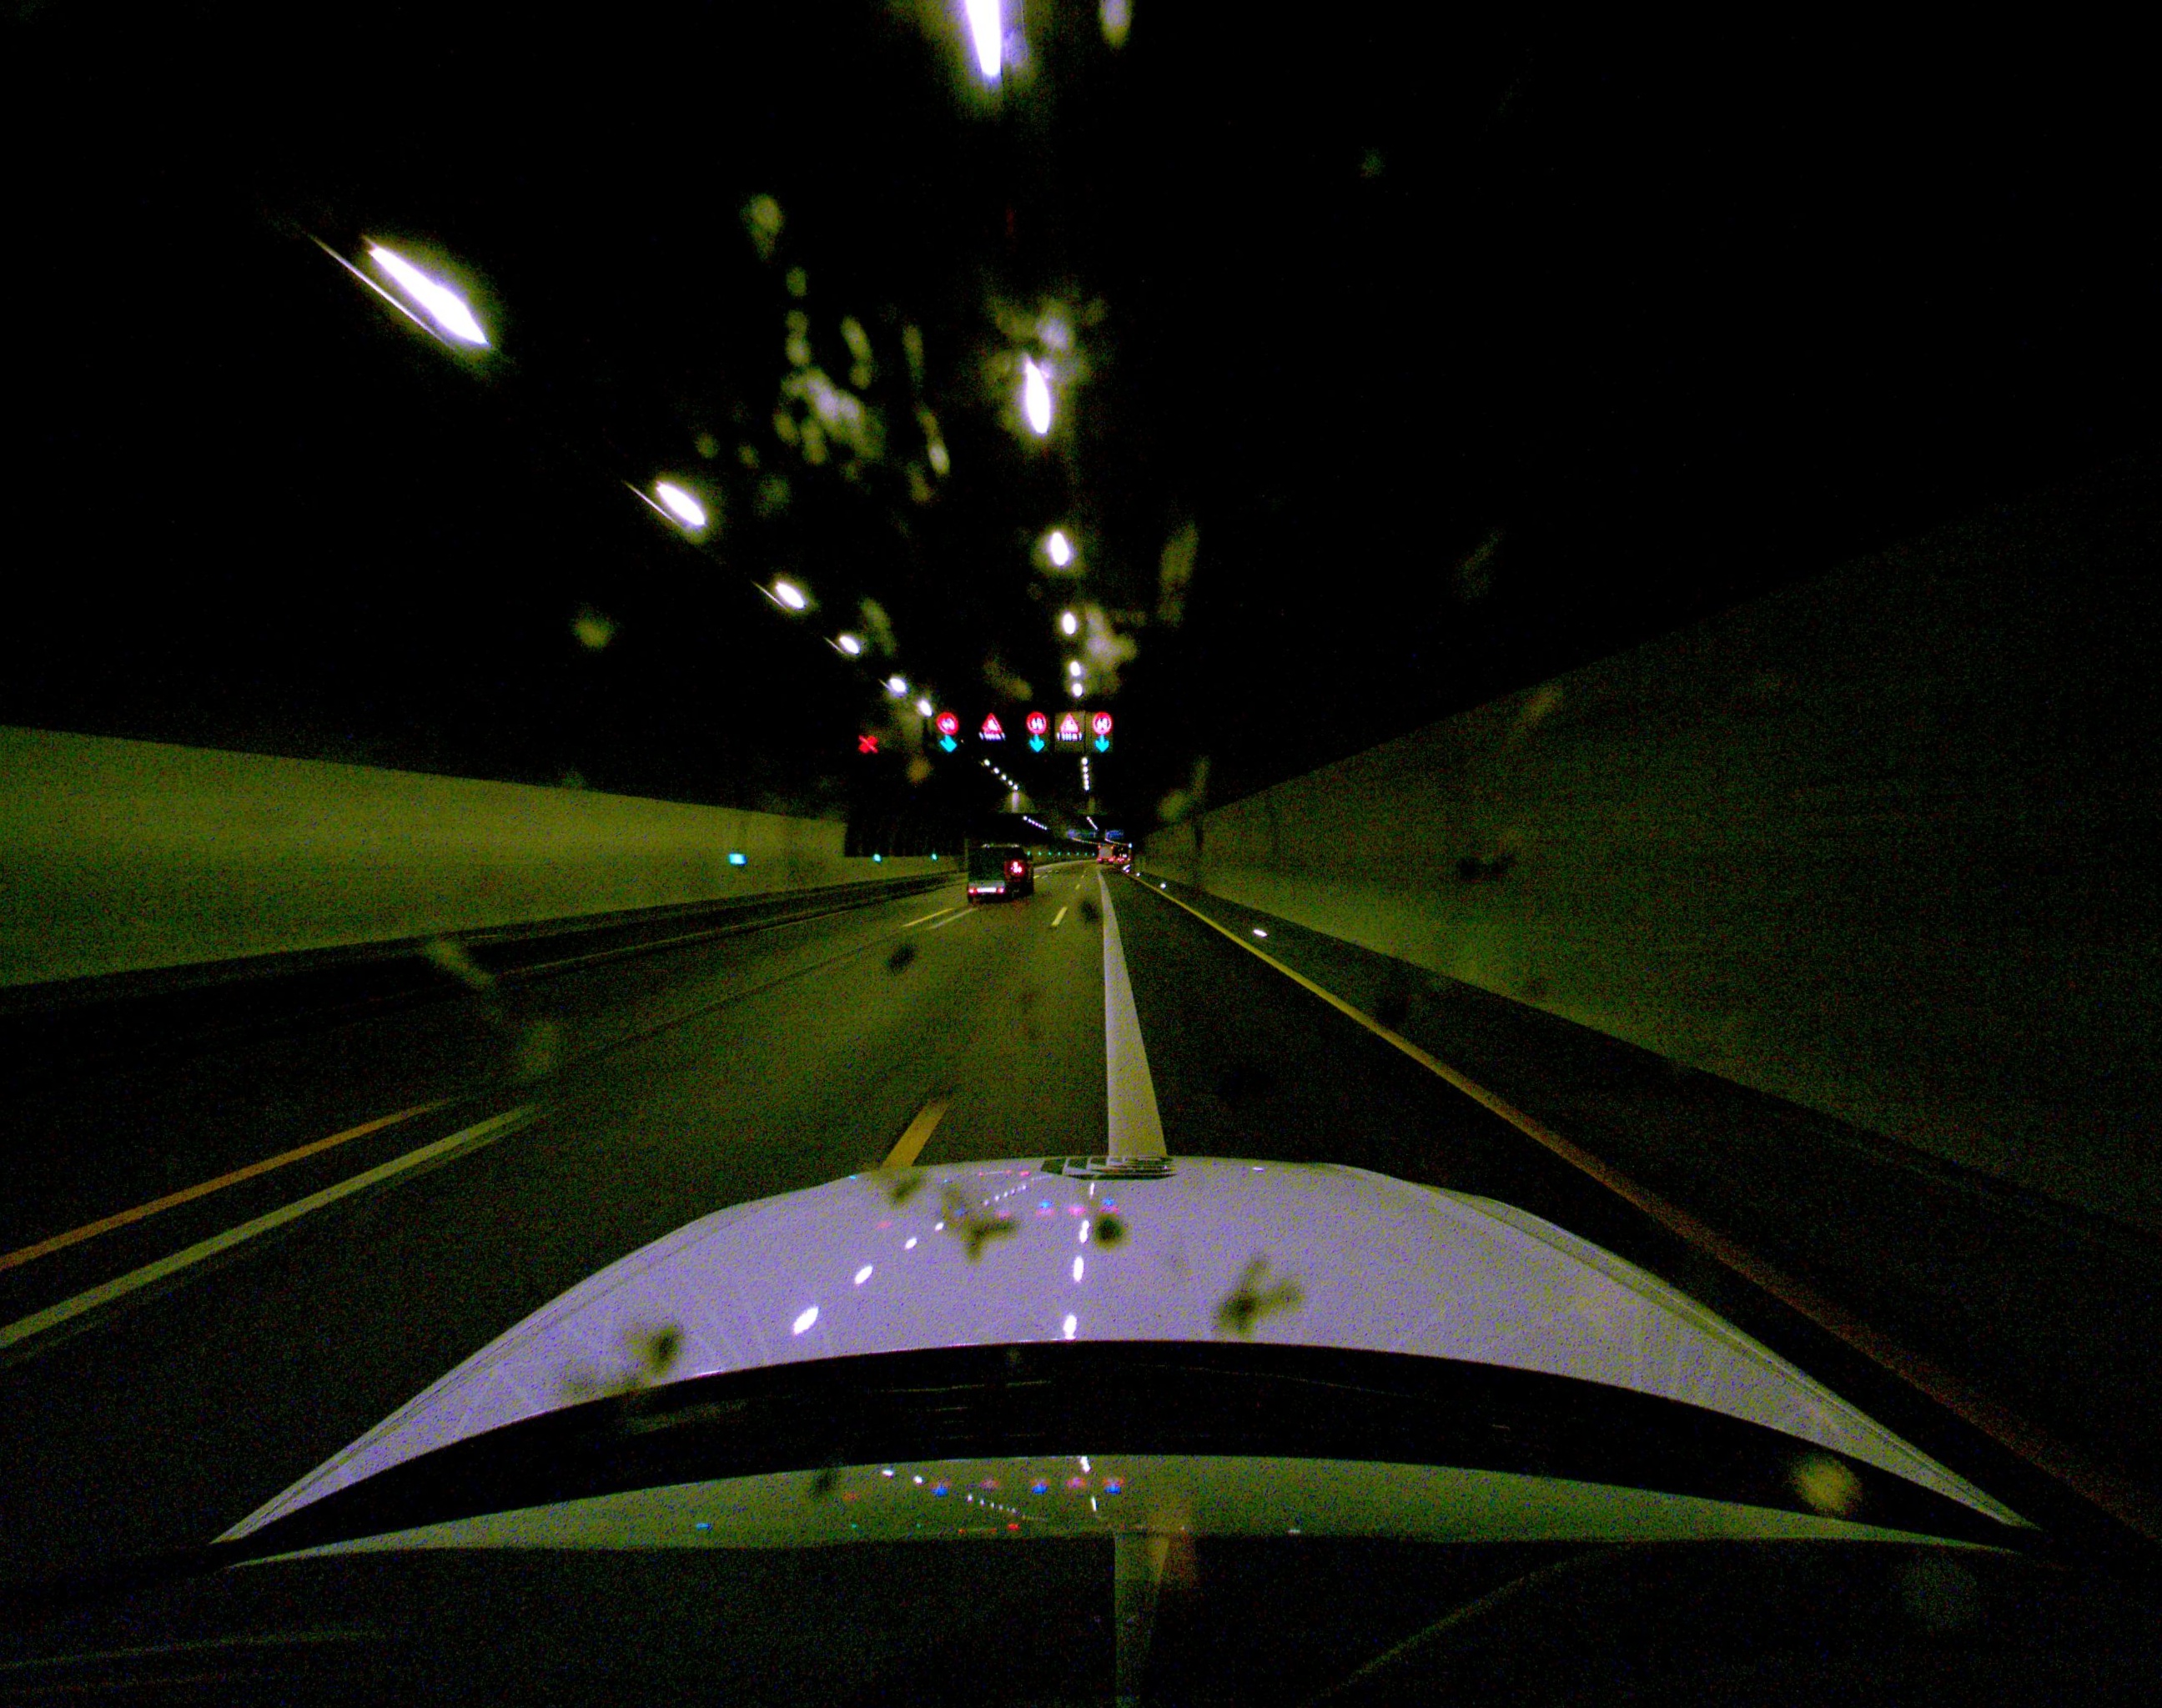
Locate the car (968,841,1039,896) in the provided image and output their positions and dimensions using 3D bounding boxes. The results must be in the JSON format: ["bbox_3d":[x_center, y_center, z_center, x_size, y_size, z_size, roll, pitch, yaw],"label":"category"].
[{"bbox_3d":[-2.875,0.502,31.388,1.986,1.895,5.456,1,0,2],"label":"car"}]

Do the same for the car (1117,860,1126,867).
[{"bbox_3d":[11.062,2.632,222.506,1.983,1.895,5.542,0,0,6],"label":"car"}]

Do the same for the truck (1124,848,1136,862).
[{"bbox_3d":[15.603,0.289,260.634,3.461,4.316,10.955,0,0,1],"label":"truck"}]

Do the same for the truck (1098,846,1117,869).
[{"bbox_3d":[5.204,0.672,162.426,3.462,4.316,10.953,1,0,1],"label":"truck"}]
